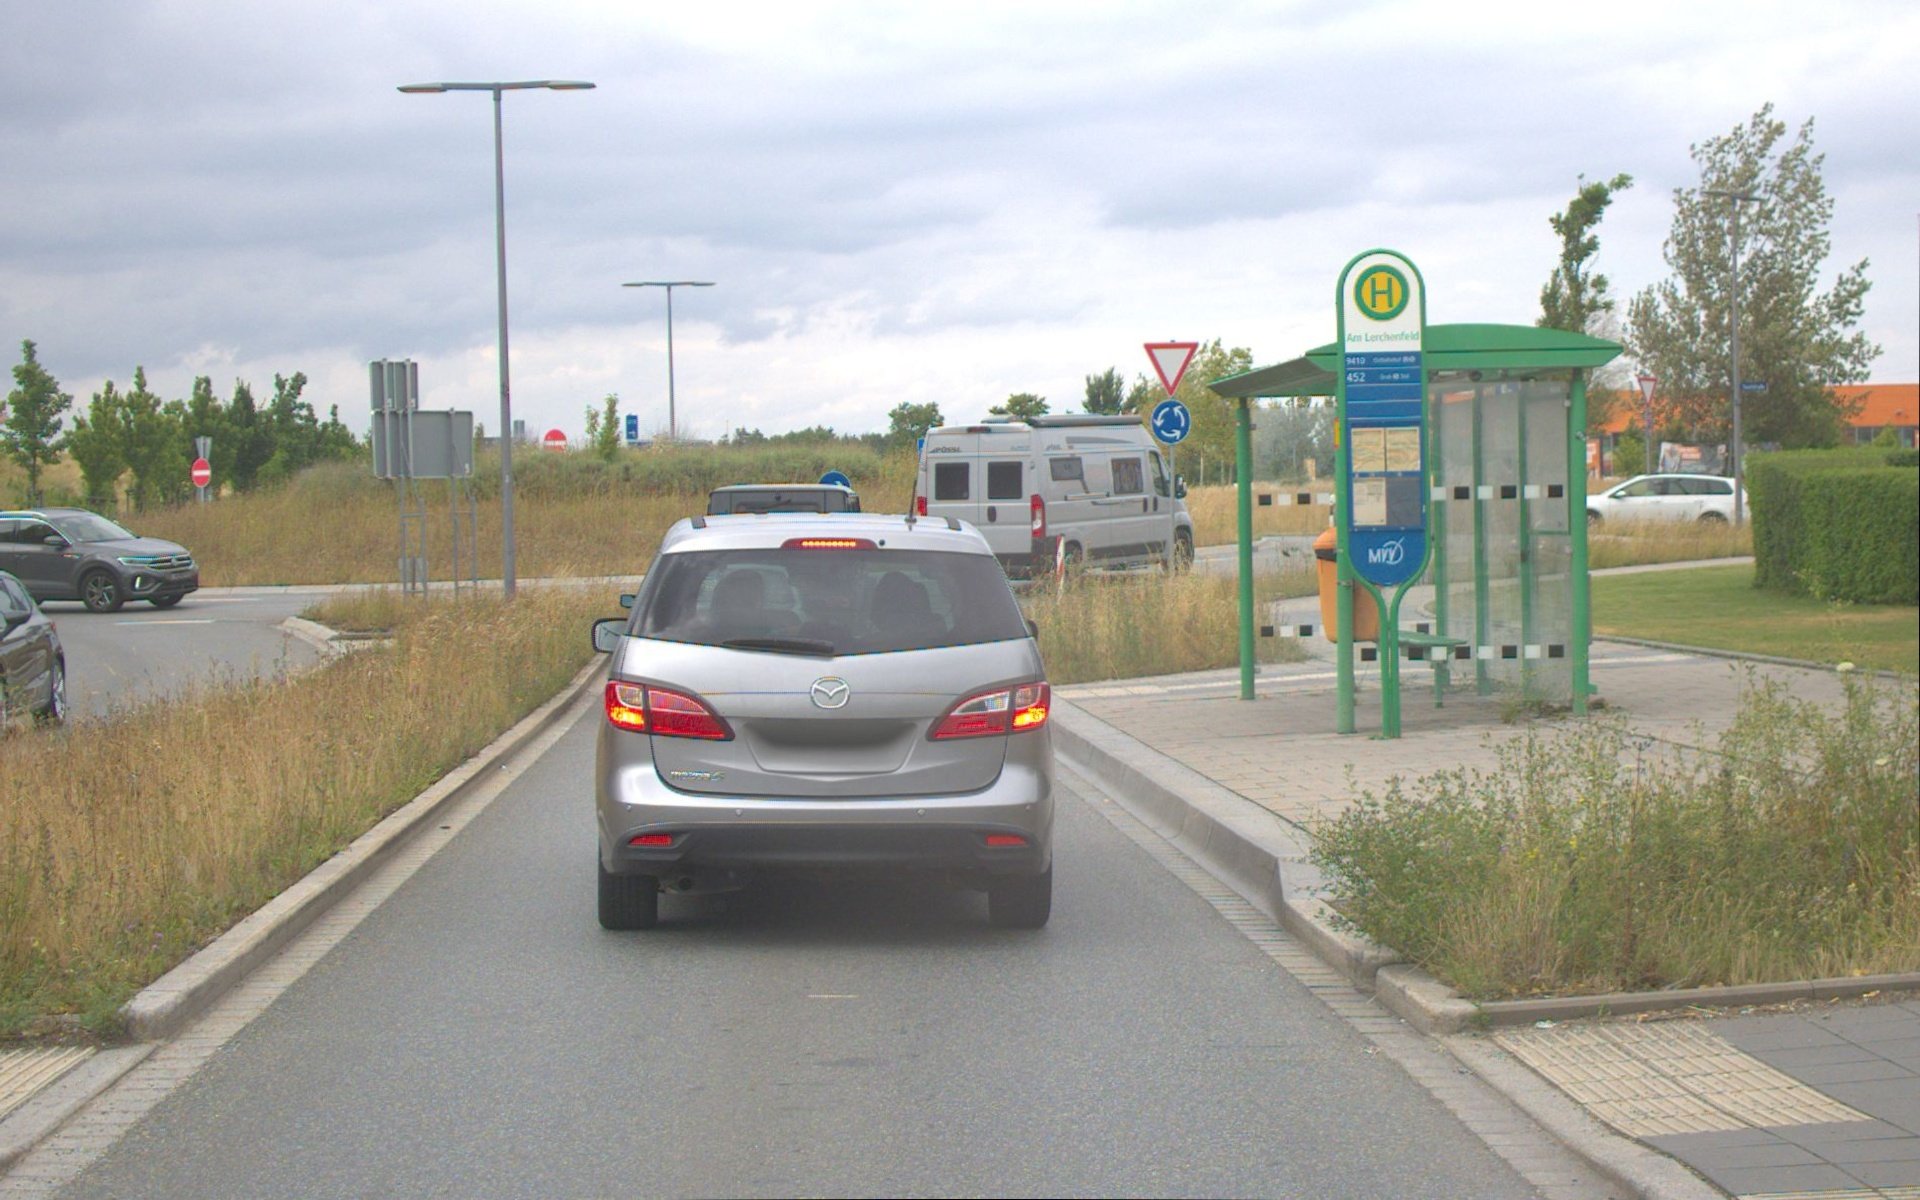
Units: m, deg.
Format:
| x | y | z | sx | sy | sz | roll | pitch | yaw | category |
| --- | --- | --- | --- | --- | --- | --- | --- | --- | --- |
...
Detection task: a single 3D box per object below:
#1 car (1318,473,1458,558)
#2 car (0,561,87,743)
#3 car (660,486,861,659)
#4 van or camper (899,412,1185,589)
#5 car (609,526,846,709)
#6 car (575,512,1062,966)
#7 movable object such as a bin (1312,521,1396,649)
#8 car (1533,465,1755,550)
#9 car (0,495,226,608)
| x | y | z | sx | sy | sz | roll | pitch | yaw | category |
| --- | --- | --- | --- | --- | --- | --- | --- | --- | --- |
| 8.070 | -1.597 | 64.568 | 1.995 | 1.510 | 3.997 | -1 | 1 | 16 | car |
| -8.604 | 0.444 | 28.462 | 1.841 | 1.402 | 4.001 | -3 | 1 | -3 | car |
| -2.192 | -0.346 | 38.968 | 2.058 | 1.819 | 4.786 | -1 | 1 | -1 | car |
| 1.302 | -1.476 | 51.208 | 2.306 | 2.497 | 5.199 | 0 | 2 | 26 | van or camper |
| -1.959 | 0.101 | 30.088 | 1.844 | 1.413 | 4.225 | -1 | 2 | -1 | car |
| -0.634 | 0.446 | 14.130 | 1.729 | 1.594 | 3.808 | 0 | 2 | -4 | car |
| 2.487 | -0.099 | 21.718 | 0.456 | 0.795 | 0.380 | -1 | 1 | -3 | movable object such as a bin |
| 14.785 | -1.996 | 74.527 | 4.603 | 1.751 | 1.999 | 0 | 1 | 8 | car |
| -13.588 | -0.726 | 52.488 | 4.195 | 1.587 | 2.063 | -1 | 2 | 24 | car |
